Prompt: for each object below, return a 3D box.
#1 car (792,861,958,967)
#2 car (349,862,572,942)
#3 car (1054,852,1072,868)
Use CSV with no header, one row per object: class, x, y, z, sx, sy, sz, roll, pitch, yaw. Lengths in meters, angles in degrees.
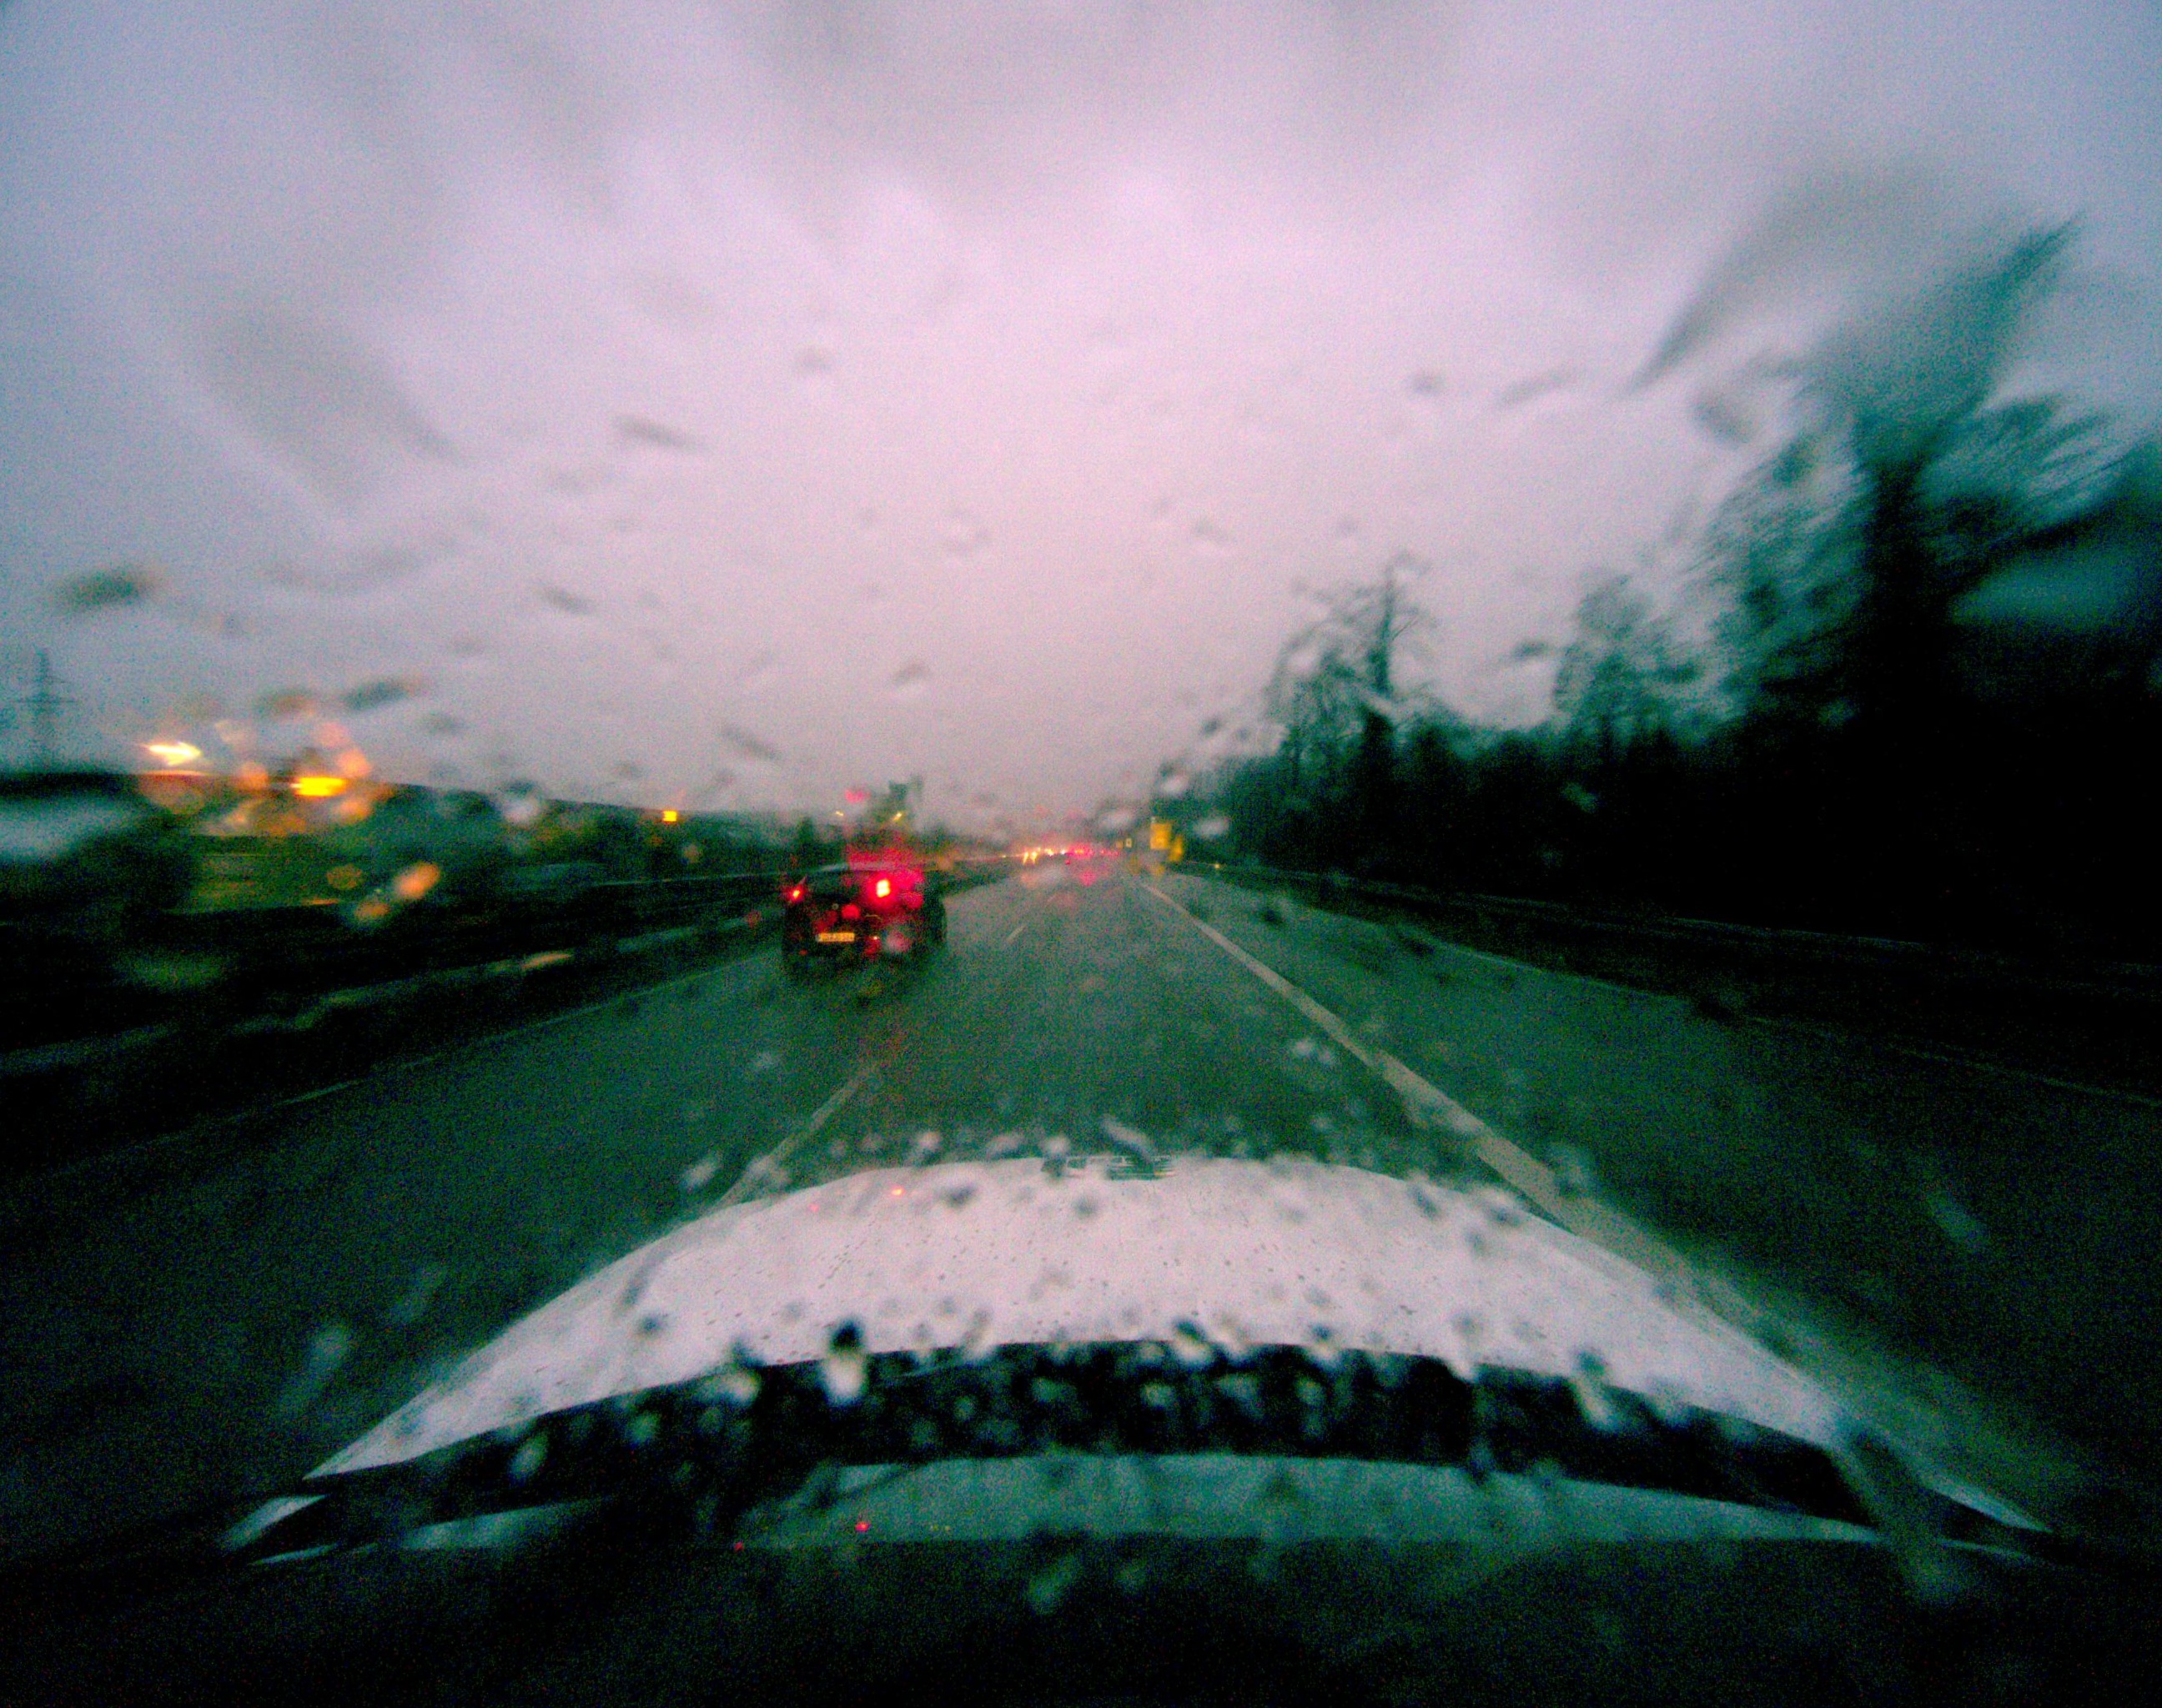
car,-3.087,0.827,13.014,1.620,1.392,3.999,1,0,0
car,-13.323,0.955,17.836,1.730,1.508,4.001,0,0,2
car,-1.579,0.499,70.583,1.411,1.317,3.083,0,0,1
